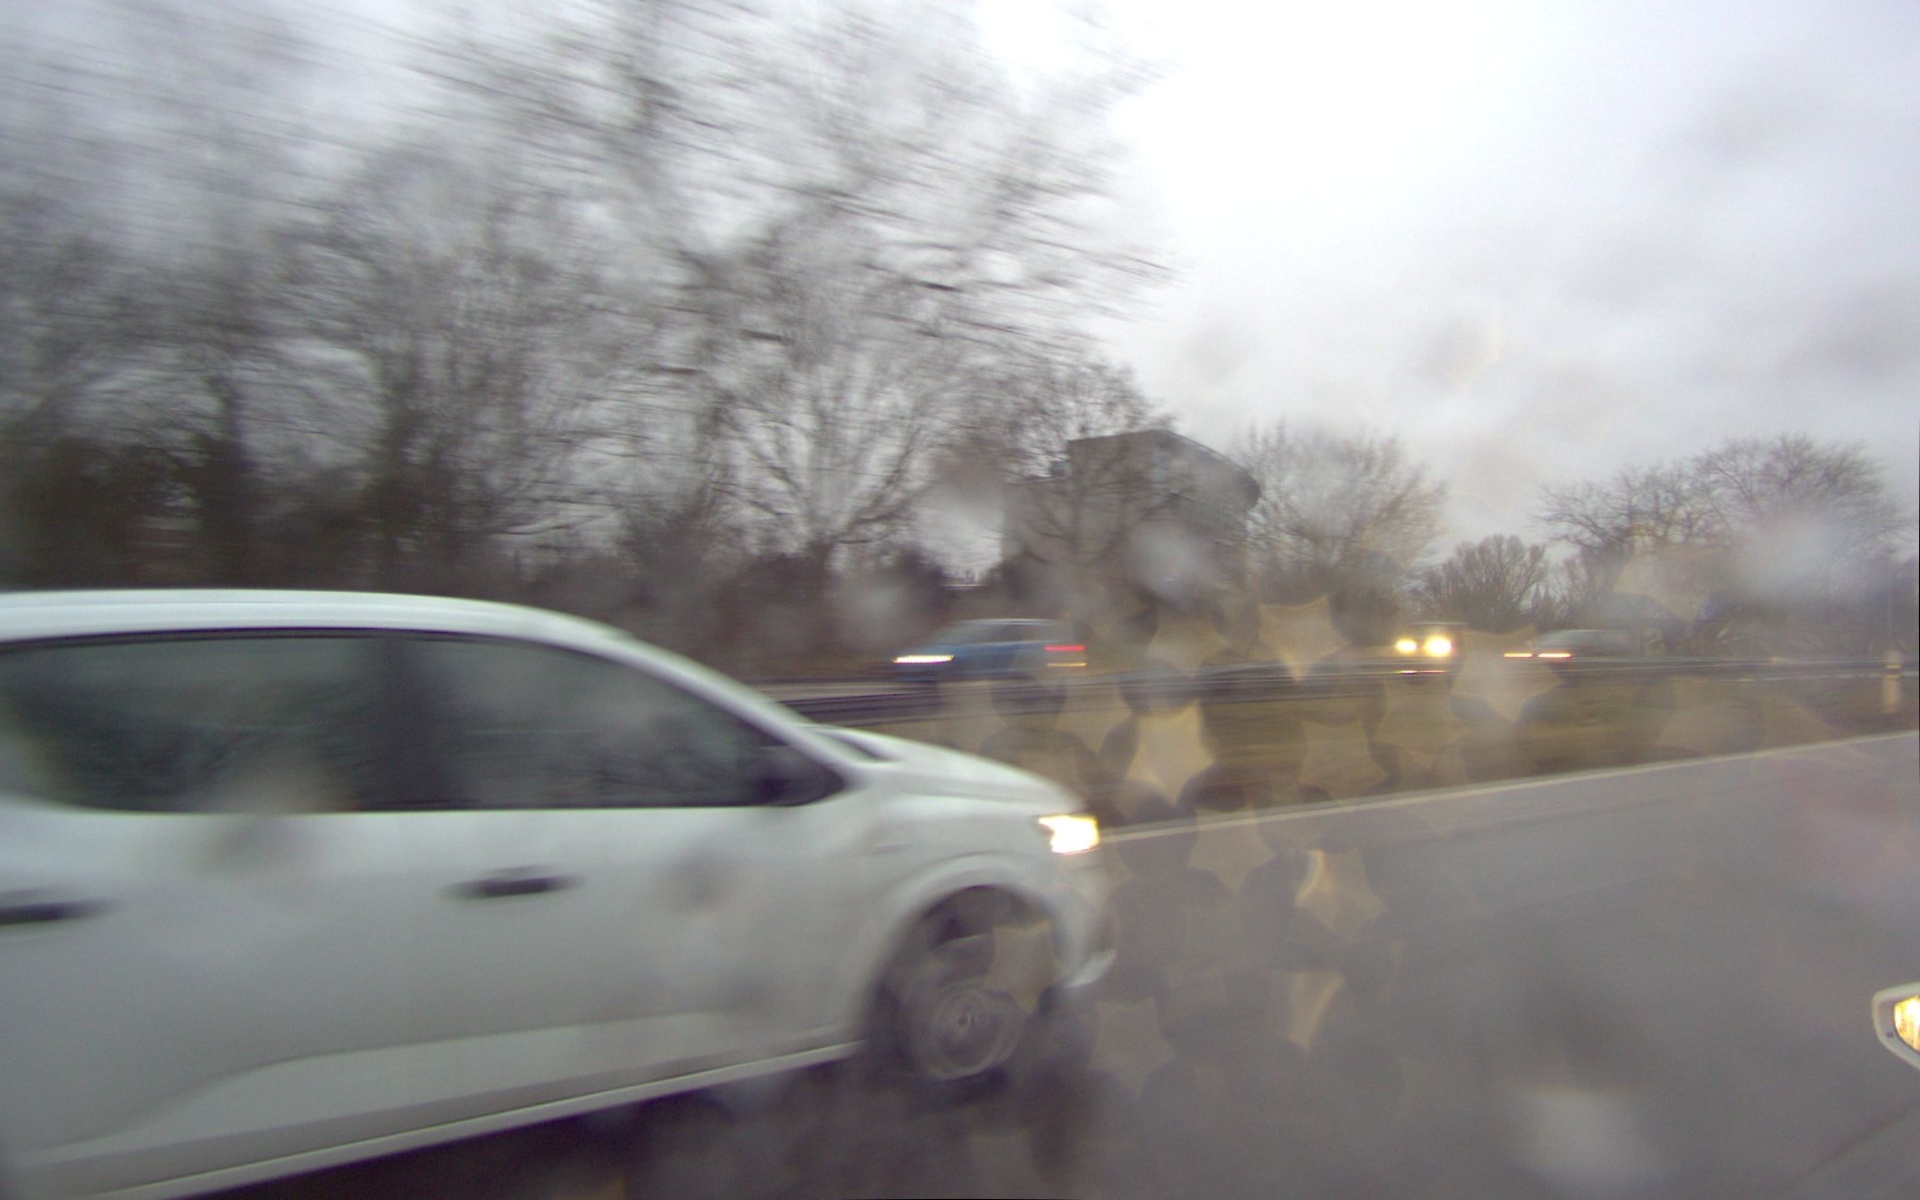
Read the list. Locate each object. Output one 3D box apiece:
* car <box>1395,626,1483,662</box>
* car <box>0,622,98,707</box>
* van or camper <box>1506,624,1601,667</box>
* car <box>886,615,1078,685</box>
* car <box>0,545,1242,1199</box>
[{"bbox_3d":[23.004,2.123,48.193,4.635,1.630,1.772,2,-2,-35],"label":"car"},{"bbox_3d":[-17.104,1.041,16.685,3.907,1.371,1.642,2,-2,-28],"label":"car"},{"bbox_3d":[25.762,1.986,43.597,4.156,1.807,1.642,2,-1,-28],"label":"van or camper"},{"bbox_3d":[0.578,1.225,24.779,4.540,1.586,1.642,2,-1,-28],"label":"car"},{"bbox_3d":[-1.273,0.663,3.175,4.173,1.459,1.717,1,-2,-28],"label":"car"}]
